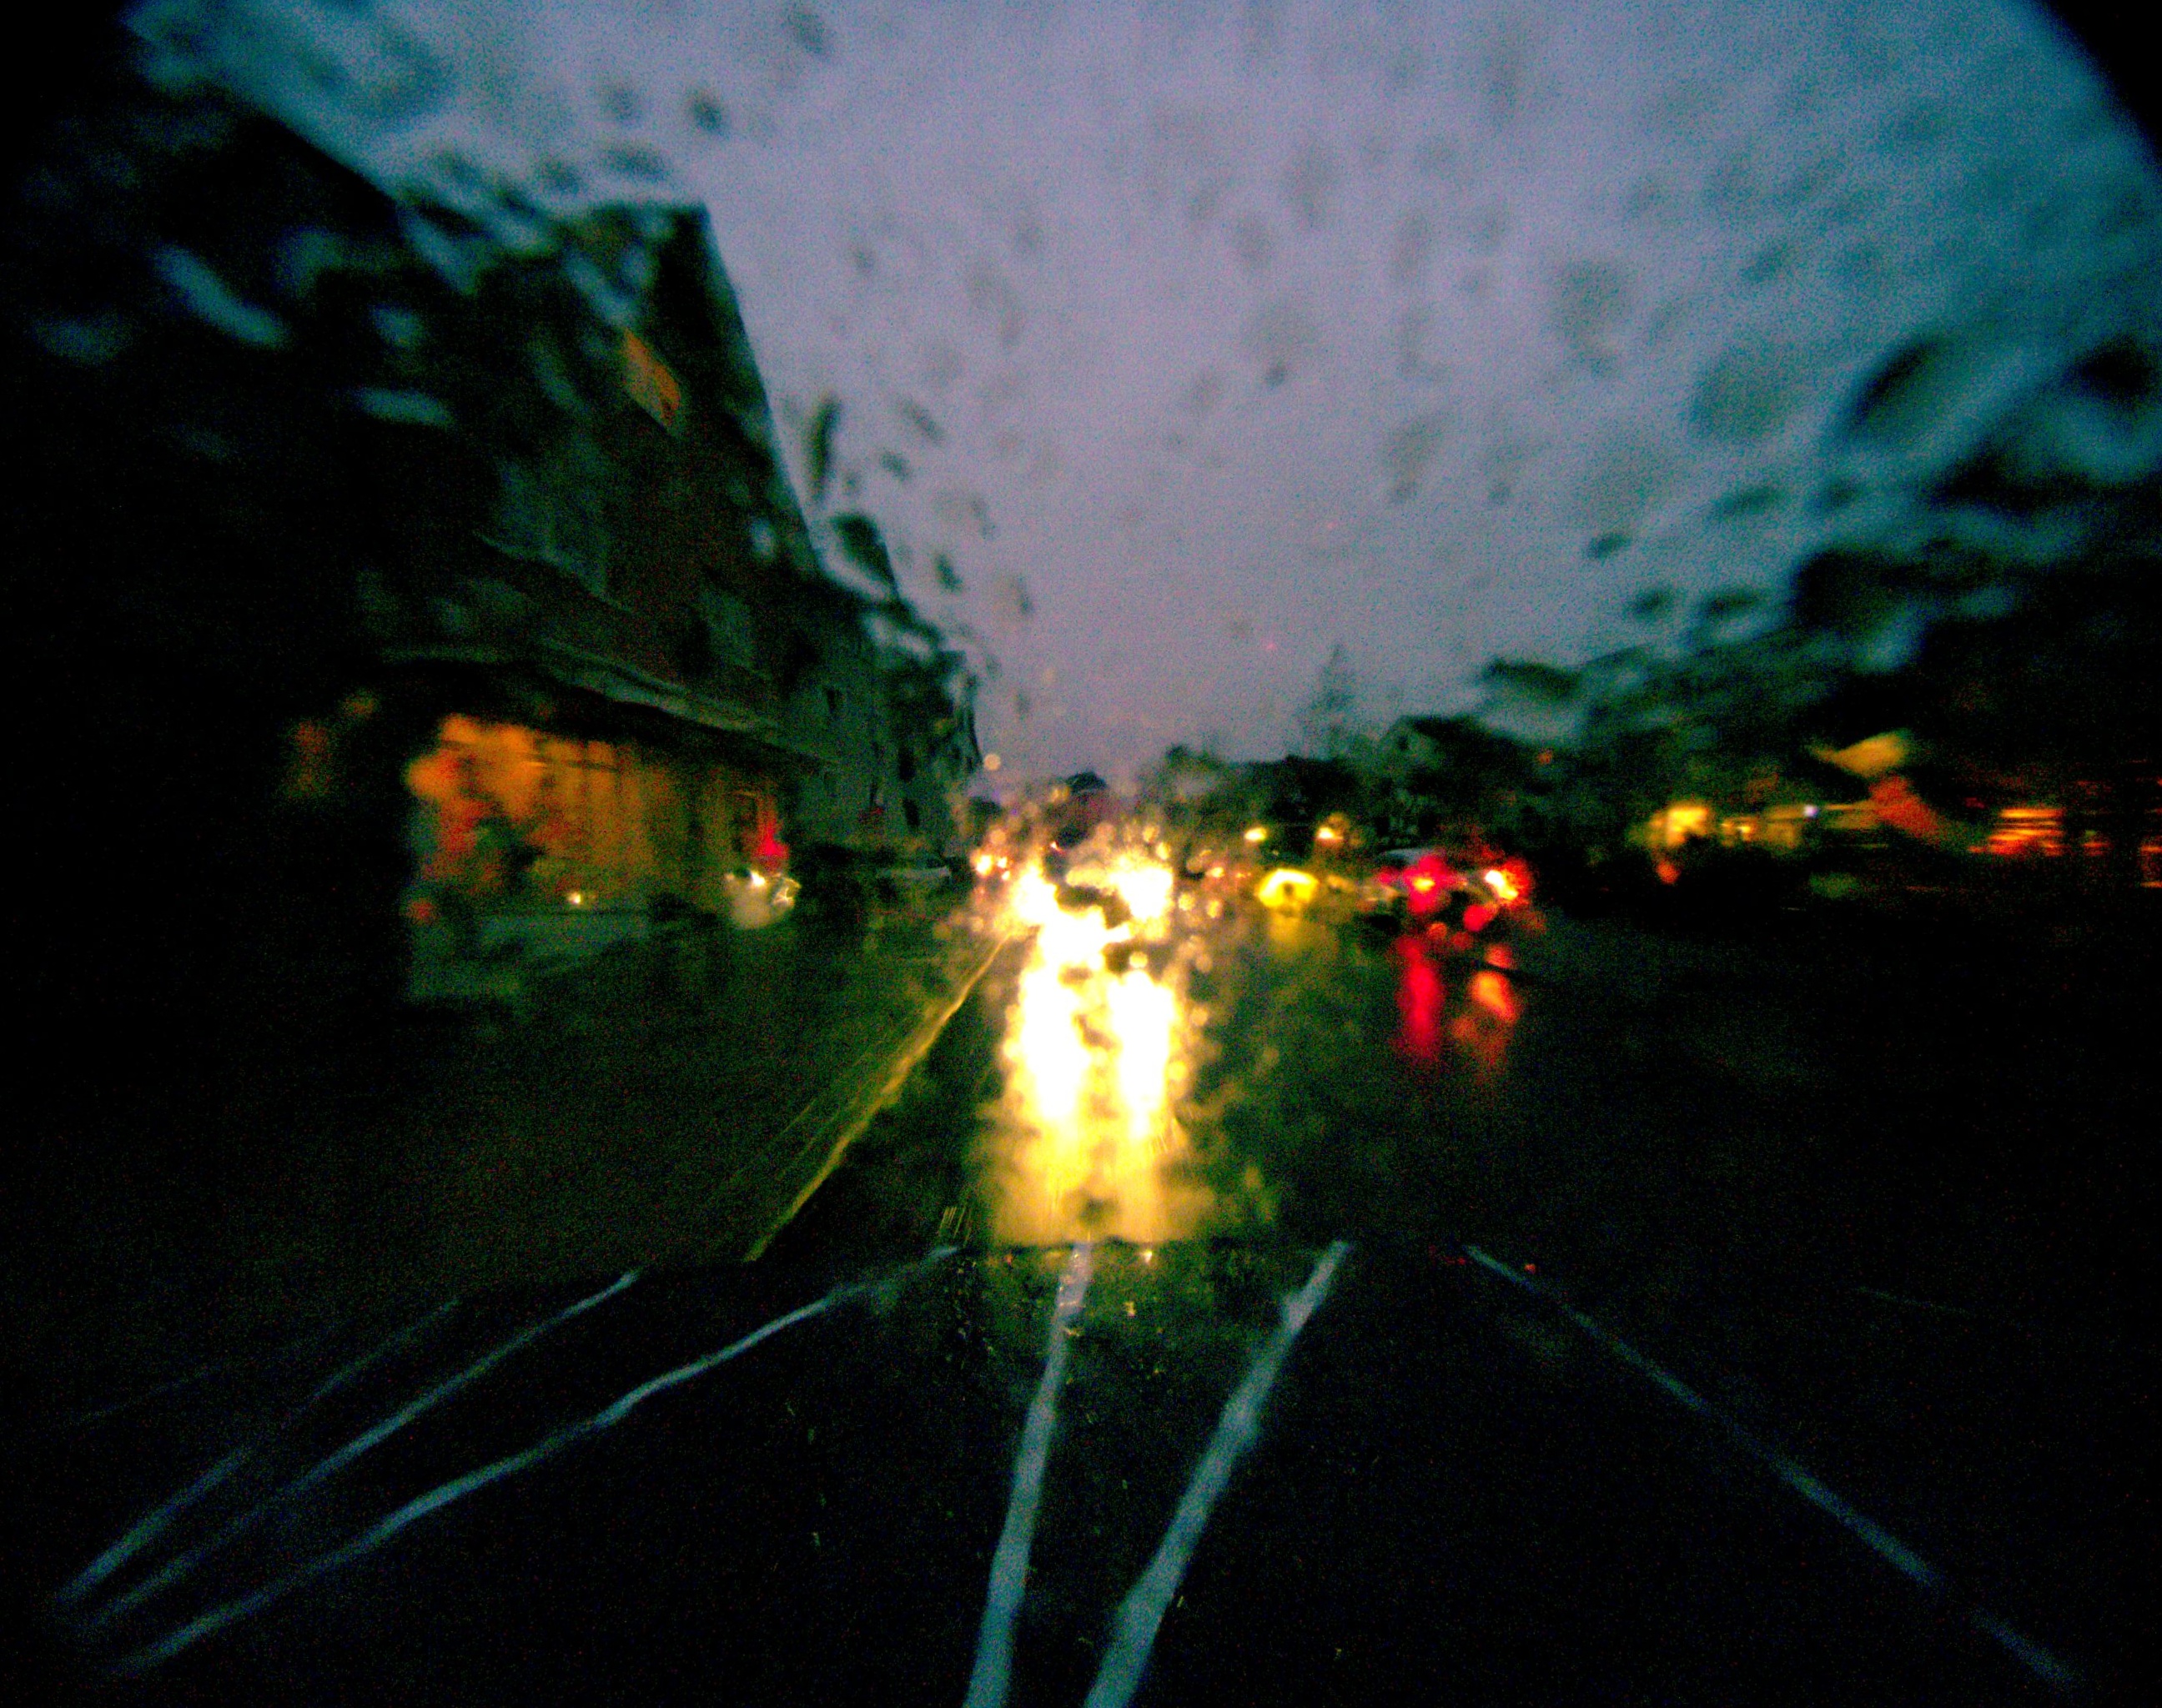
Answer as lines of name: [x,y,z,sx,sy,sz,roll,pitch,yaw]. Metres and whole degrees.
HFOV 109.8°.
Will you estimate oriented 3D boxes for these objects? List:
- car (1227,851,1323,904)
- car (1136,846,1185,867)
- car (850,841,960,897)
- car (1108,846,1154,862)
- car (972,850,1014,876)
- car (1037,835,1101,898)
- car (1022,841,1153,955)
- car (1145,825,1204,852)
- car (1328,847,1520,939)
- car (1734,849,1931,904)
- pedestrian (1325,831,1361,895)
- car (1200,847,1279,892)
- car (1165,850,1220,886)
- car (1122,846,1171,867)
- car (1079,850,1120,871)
car: [5.877,0.654,23.518,1.699,1.423,4.376,-2,0,-1]
car: [6.402,0.164,61.414,3.840,1.537,2.001,-2,1,6]
car: [-5.586,0.416,24.847,1.933,1.477,4.697,-2,2,7]
car: [4.412,-0.015,66.965,3.996,1.291,2.000,-2,1,3]
car: [-6.835,0.693,58.991,2.002,1.844,3.992,-3,1,-25]
car: [-0.390,0.396,27.033,1.998,2.002,3.999,-2,1,0]
car: [0.044,0.668,14.010,1.999,1.720,3.999,-2,1,-2]
car: [6.639,-1.115,54.053,3.993,1.753,1.434,-2,1,12]
car: [6.534,0.637,15.032,1.789,1.480,4.181,-2,1,-1]
car: [23.410,0.632,23.914,2.000,1.555,3.996,0,1,-9]
pedestrian: [8.295,0.280,24.093,0.902,2.002,0.791,-1,1,8]
car: [5.944,0.535,28.908,1.880,1.526,3.669,-2,1,-6]
car: [5.279,0.612,36.457,1.840,1.526,4.138,-2,1,-2]
car: [5.549,0.211,63.980,3.994,1.538,2.001,-2,1,8]
car: [1.350,0.484,57.316,1.984,1.438,3.908,-3,1,-16]
